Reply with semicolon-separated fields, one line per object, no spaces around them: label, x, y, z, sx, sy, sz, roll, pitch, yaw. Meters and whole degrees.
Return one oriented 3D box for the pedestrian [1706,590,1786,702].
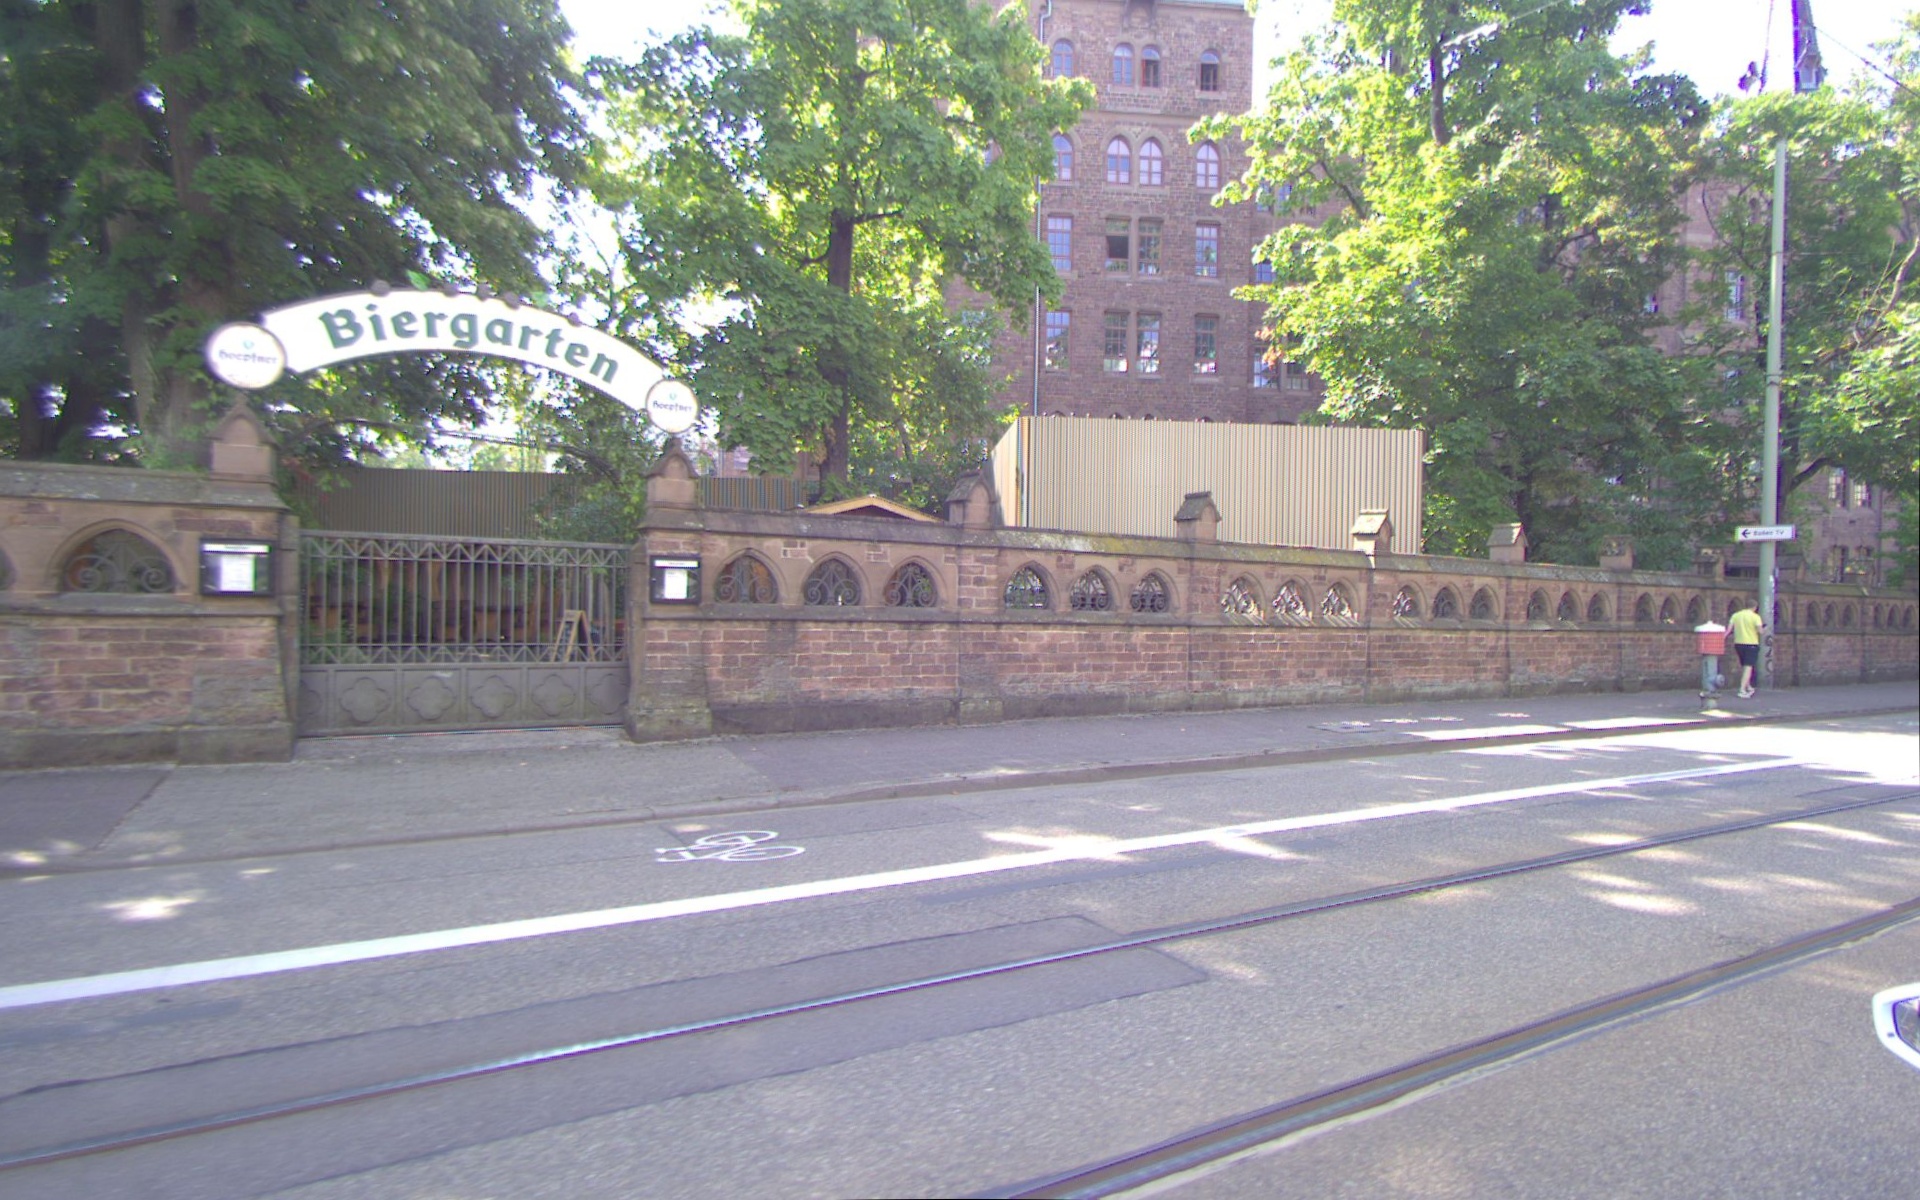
pedestrian;14.795;0.843;18.917;0.972;2.040;0.859;1;0;-31
